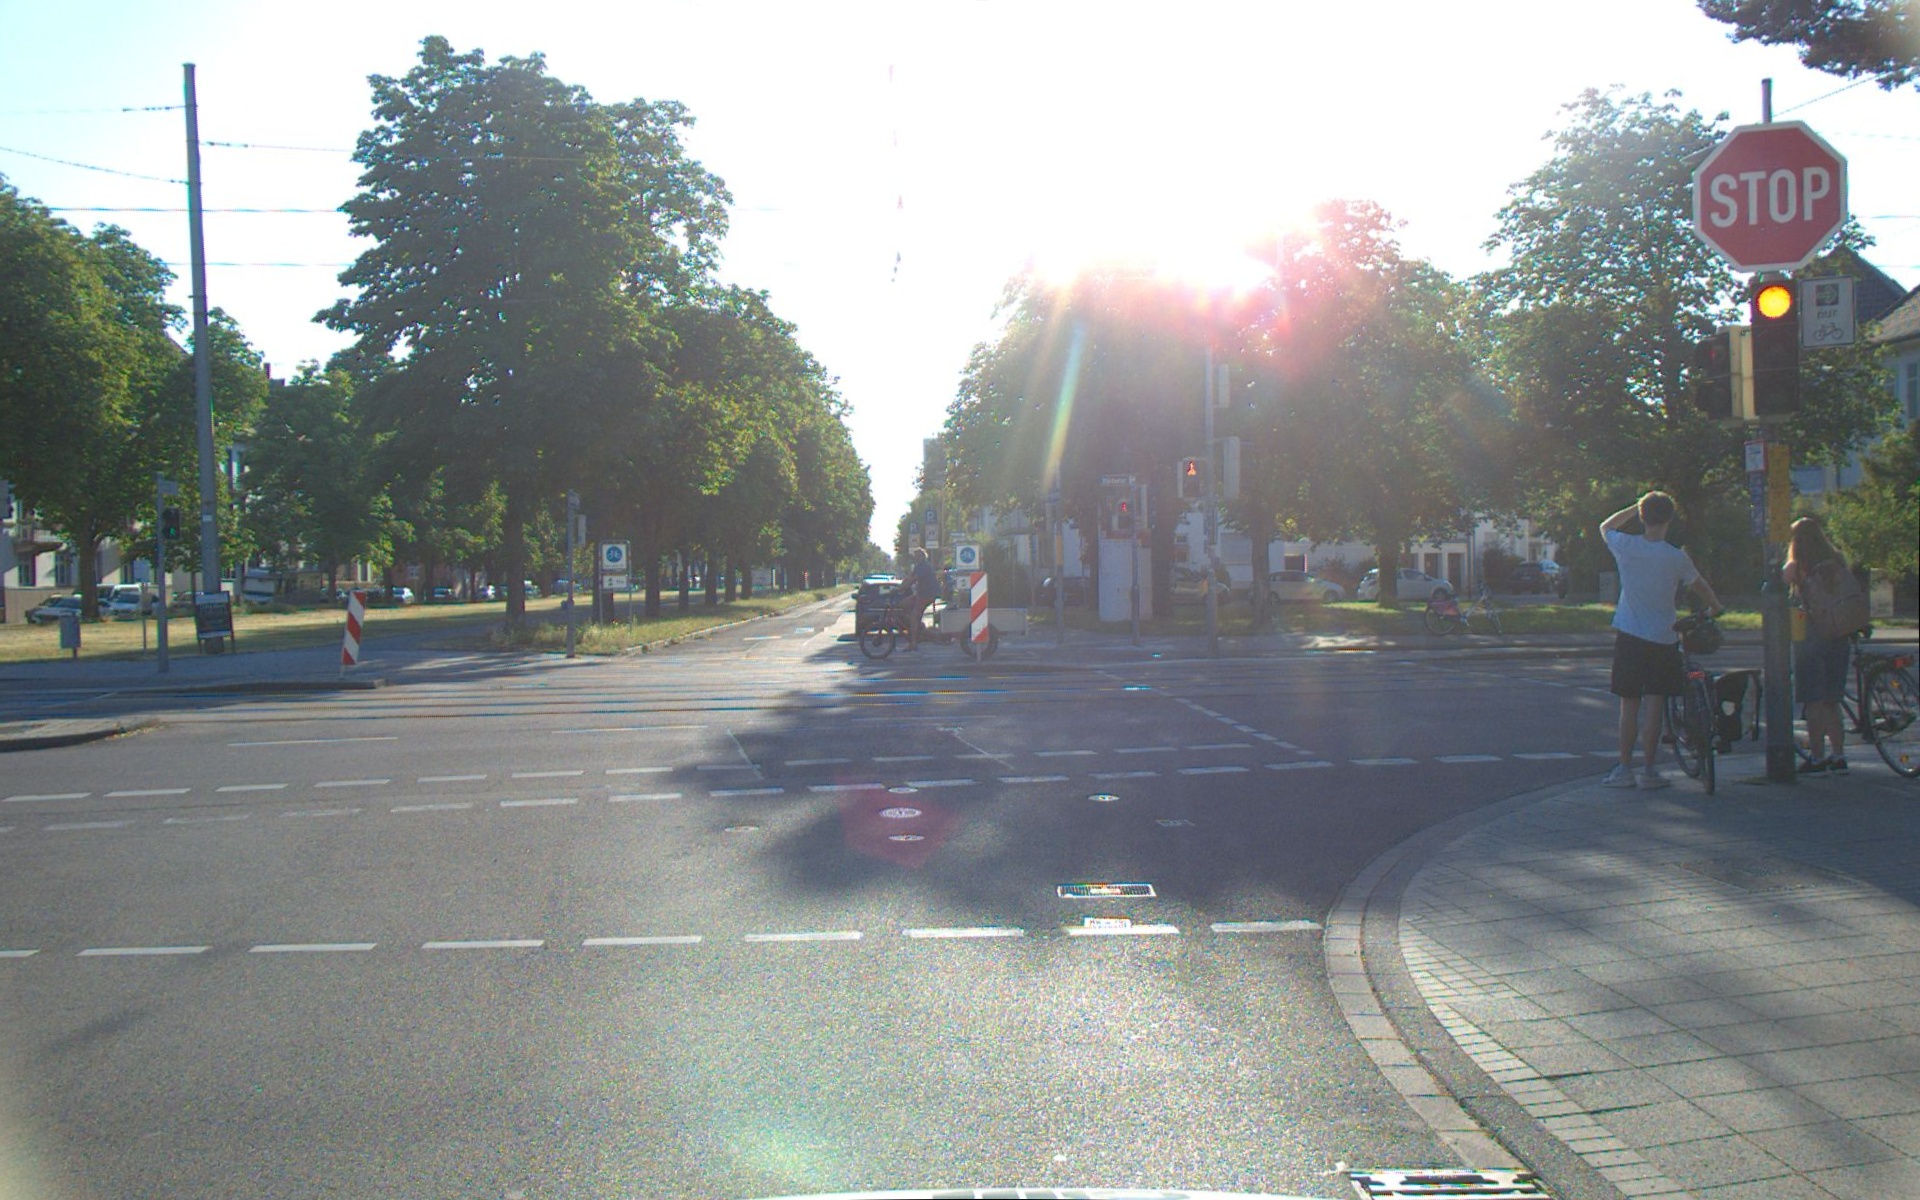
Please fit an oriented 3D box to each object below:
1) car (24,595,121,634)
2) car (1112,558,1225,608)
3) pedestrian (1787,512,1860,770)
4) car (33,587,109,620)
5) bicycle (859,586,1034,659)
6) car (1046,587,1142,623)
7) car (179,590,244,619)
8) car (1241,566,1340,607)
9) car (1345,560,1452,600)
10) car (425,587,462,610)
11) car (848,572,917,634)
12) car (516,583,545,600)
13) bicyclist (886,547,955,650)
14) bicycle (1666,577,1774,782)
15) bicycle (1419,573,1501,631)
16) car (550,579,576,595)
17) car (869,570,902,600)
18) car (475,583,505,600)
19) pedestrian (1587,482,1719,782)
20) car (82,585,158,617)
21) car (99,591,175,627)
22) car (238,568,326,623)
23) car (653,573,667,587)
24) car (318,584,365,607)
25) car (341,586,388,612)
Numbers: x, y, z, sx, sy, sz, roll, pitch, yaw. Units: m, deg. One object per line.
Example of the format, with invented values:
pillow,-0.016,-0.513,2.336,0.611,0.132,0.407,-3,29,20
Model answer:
car,-40.208,0.659,75.020,1.953,1.688,4.569,1,0,-1
car,8.230,-0.655,65.630,4.157,1.908,2.029,-1,0,-3
pedestrian,5.541,0.256,10.624,0.342,1.613,0.462,1,-1,20
car,-45.954,0.172,85.605,1.681,1.661,4.190,1,0,-1
bicycle,-0.220,0.397,29.191,3.009,1.182,0.875,-2,0,2
car,5.715,0.216,70.689,3.907,1.472,1.715,-1,0,-3
car,-46.129,0.283,102.029,1.953,1.688,4.569,1,0,-1
car,13.085,-0.545,65.513,3.487,1.542,1.602,-1,0,-8
car,17.539,-0.799,66.237,3.847,1.550,1.521,0,-1,-8
car,-42.499,-0.132,136.156,1.775,1.812,4.121,1,0,-2
car,-2.031,0.084,44.542,1.690,1.537,4.539,1,0,-1
car,-43.327,-0.831,166.885,1.982,1.688,3.982,1,0,-2
bicyclist,-0.693,-0.022,29.209,1.121,1.753,0.875,-2,0,2
bicycle,4.906,0.457,10.753,0.561,1.204,1.905,1,1,23
bicycle,9.987,0.043,33.054,1.489,1.108,0.468,-1,4,7
car,-44.709,-1.490,186.352,1.954,1.688,4.568,-1,1,-3
car,-4.685,-0.984,103.663,1.954,1.812,3.998,1,1,-3
car,-48.861,-0.897,171.931,1.953,1.688,4.354,1,0,-1
pedestrian,4.603,0.206,11.031,0.614,1.899,0.775,-4,0,18
car,-46.919,0.053,92.516,1.953,1.688,4.569,1,0,-1
car,-40.246,0.417,81.015,1.760,1.581,4.416,1,1,-4
car,-41.078,-0.311,100.501,2.344,3.185,7.850,1,1,-2
car,-45.898,-3.112,253.269,1.621,1.972,3.565,1,-1,-3
car,-47.101,-0.336,125.950,1.953,1.688,4.373,1,0,-1
car,-41.751,-0.056,115.988,1.841,1.703,4.313,1,0,-2
